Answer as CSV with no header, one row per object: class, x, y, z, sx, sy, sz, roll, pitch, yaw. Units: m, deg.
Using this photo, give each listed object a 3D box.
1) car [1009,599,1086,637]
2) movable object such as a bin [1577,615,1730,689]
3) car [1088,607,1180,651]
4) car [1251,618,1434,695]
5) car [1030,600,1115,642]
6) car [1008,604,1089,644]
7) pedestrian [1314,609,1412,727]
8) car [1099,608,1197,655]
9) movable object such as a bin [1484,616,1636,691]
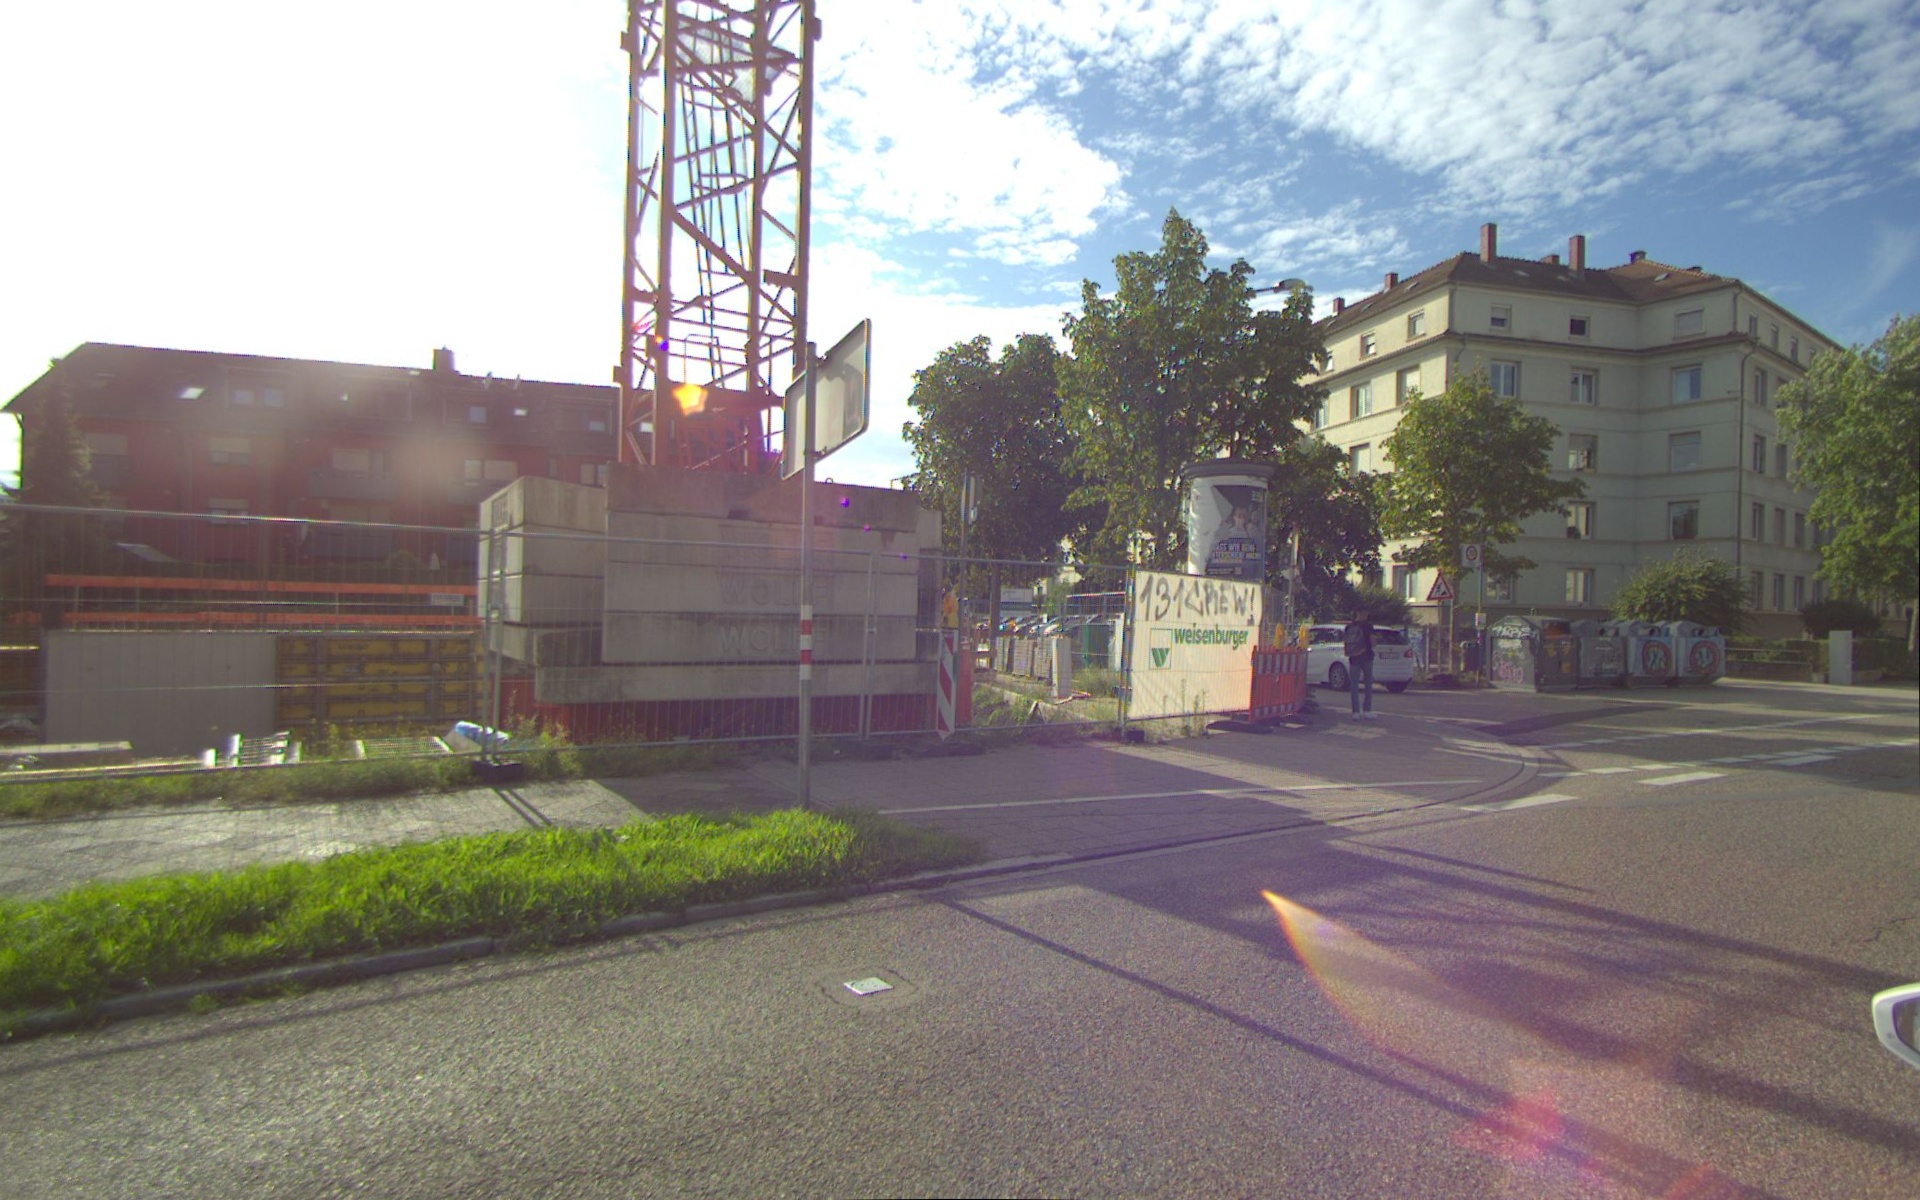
car,5.090,1.062,58.283,3.941,2.040,1.990,2,0,-21
movable object such as a bin,18.300,1.335,26.638,1.388,1.730,3.100,2,0,-19
car,8.412,1.409,48.590,3.936,2.040,1.992,1,-1,-18
car,9.313,1.335,24.876,1.969,1.575,4.256,2,0,-18
car,5.886,1.081,52.597,3.941,2.040,1.990,2,0,-21
car,4.880,1.315,55.639,3.941,2.040,1.990,2,0,-21
pedestrian,6.371,1.048,15.870,1.171,1.751,0.996,3,0,-45
car,8.584,1.440,46.020,3.936,2.040,1.992,1,-1,-18
movable object such as a bin,15.377,1.328,25.910,1.523,1.730,3.101,2,0,-18
